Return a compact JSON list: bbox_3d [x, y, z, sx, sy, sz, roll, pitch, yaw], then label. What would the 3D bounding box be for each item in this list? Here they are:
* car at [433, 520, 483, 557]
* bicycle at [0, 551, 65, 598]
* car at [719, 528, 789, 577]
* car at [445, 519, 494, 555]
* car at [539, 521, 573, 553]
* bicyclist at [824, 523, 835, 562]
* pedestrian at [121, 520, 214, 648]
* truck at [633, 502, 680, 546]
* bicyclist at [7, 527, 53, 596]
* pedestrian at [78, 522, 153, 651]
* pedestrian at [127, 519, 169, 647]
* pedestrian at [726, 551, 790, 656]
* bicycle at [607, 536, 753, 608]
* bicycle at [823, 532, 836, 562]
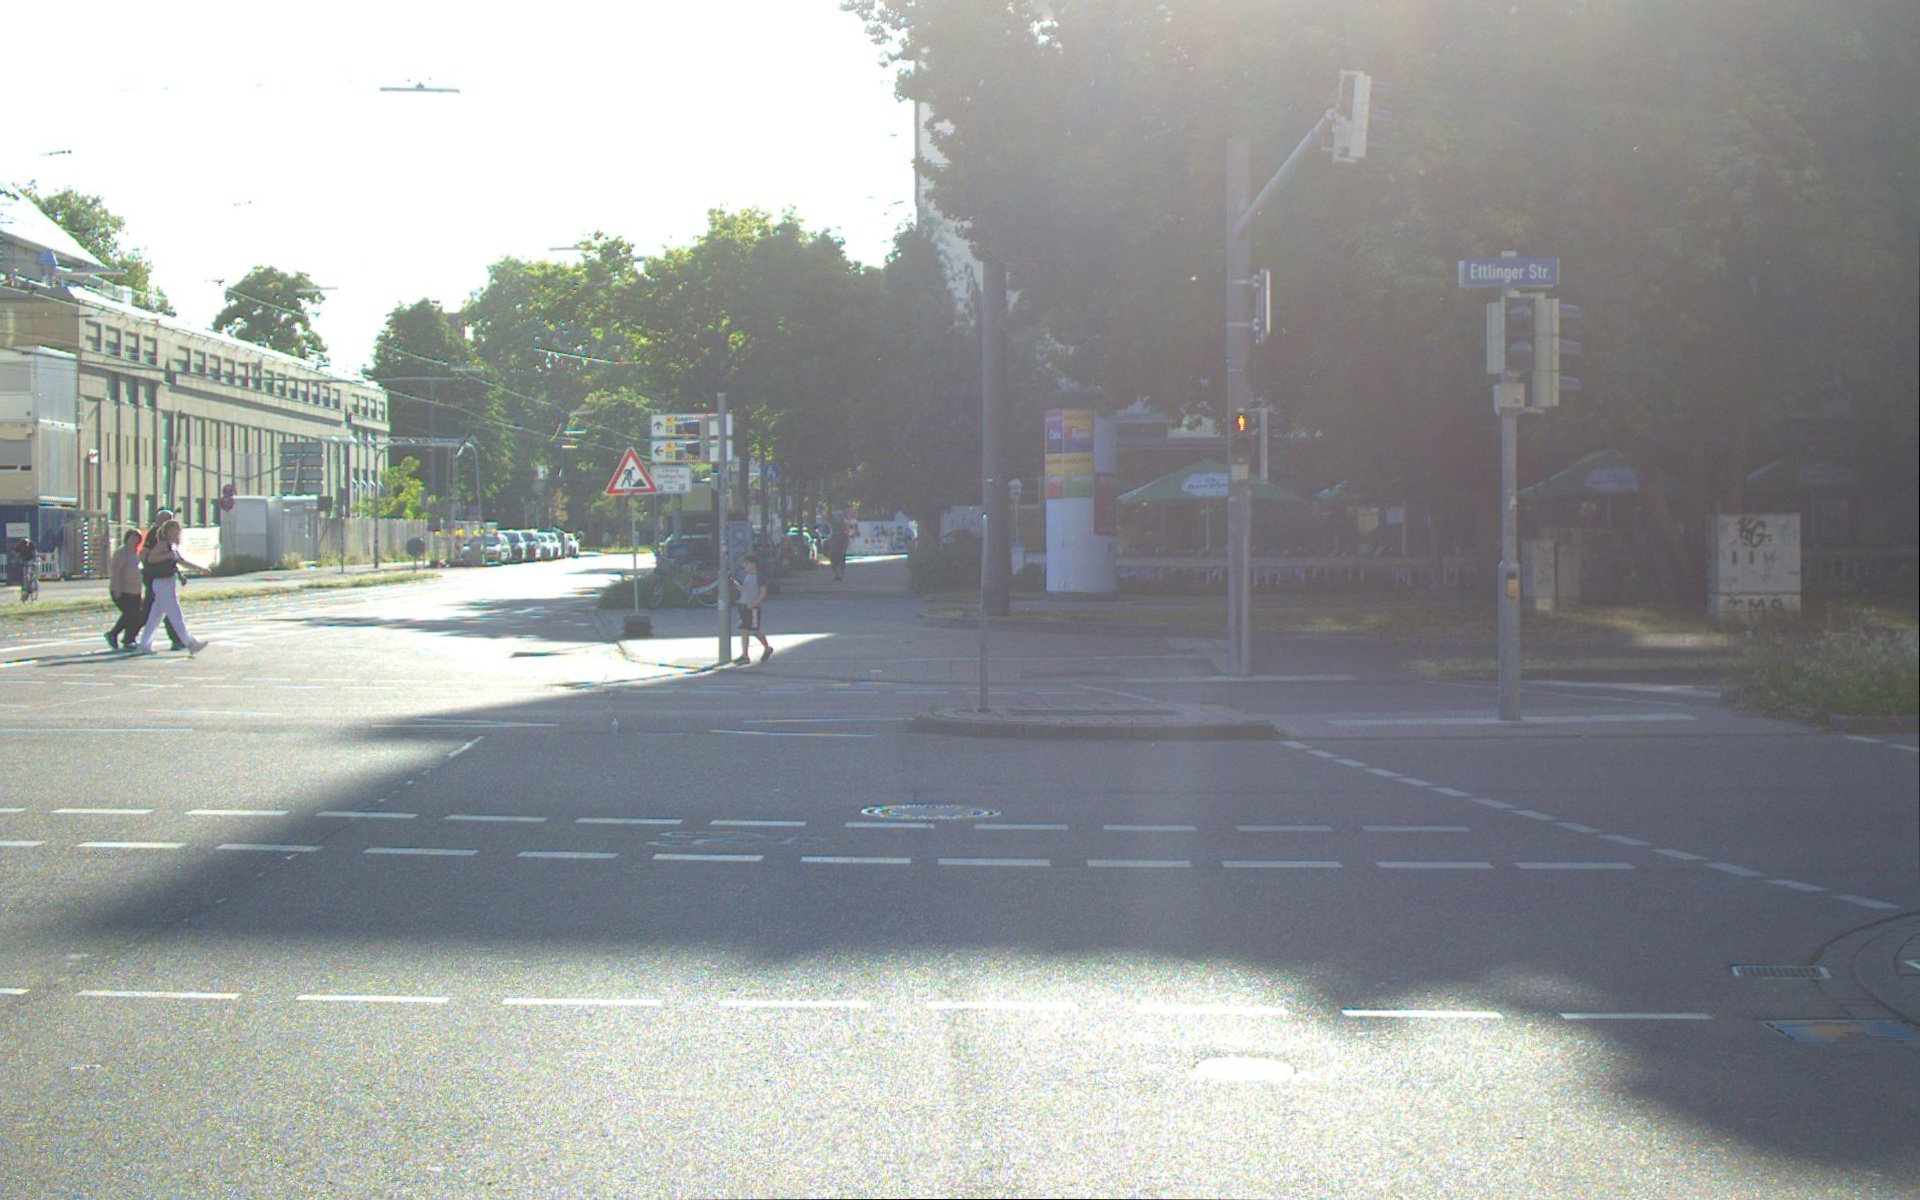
[{"bbox_3d":[-22.775,-2.808,156.084,1.731,1.647,4.000,0,1,-1],"label":"car"},{"bbox_3d":[-22.555,-0.627,83.342,0.875,1.117,3.013,0,1,1],"label":"bicycle"},{"bbox_3d":[-5.508,-1.285,92.221,1.819,1.274,4.001,0,1,-3],"label":"car"},{"bbox_3d":[-22.802,-2.929,160.033,1.731,1.647,4.000,0,1,-1],"label":"car"},{"bbox_3d":[-22.825,-3.572,194.519,1.483,1.744,4.000,-1,1,-1],"label":"car"},{"bbox_3d":[-3.800,-1.675,100.279,0.318,1.123,0.291,-1,1,-1],"label":"bicyclist"},{"bbox_3d":[-9.931,-0.206,43.099,0.984,1.582,0.660,0,0,1],"label":"pedestrian"},{"bbox_3d":[-14.573,-3.639,165.174,1.915,2.085,4.000,0,1,-1],"label":"truck"},{"bbox_3d":[-22.544,-0.935,83.353,0.875,1.636,0.822,0,1,1],"label":"bicyclist"},{"bbox_3d":[-10.757,-0.177,43.784,0.795,1.634,0.533,0,1,2],"label":"pedestrian"},{"bbox_3d":[-10.595,-0.228,44.849,0.441,1.657,0.376,-1,1,-1],"label":"pedestrian"},{"bbox_3d":[-2.606,0.039,44.421,0.752,1.328,0.742,0,1,1],"label":"pedestrian"},{"bbox_3d":[-5.464,-0.548,67.134,2.748,1.363,0.630,1,0,11],"label":"bicycle"},{"bbox_3d":[-3.806,-1.545,100.294,0.324,0.865,1.483,-1,1,-1],"label":"bicycle"}]
